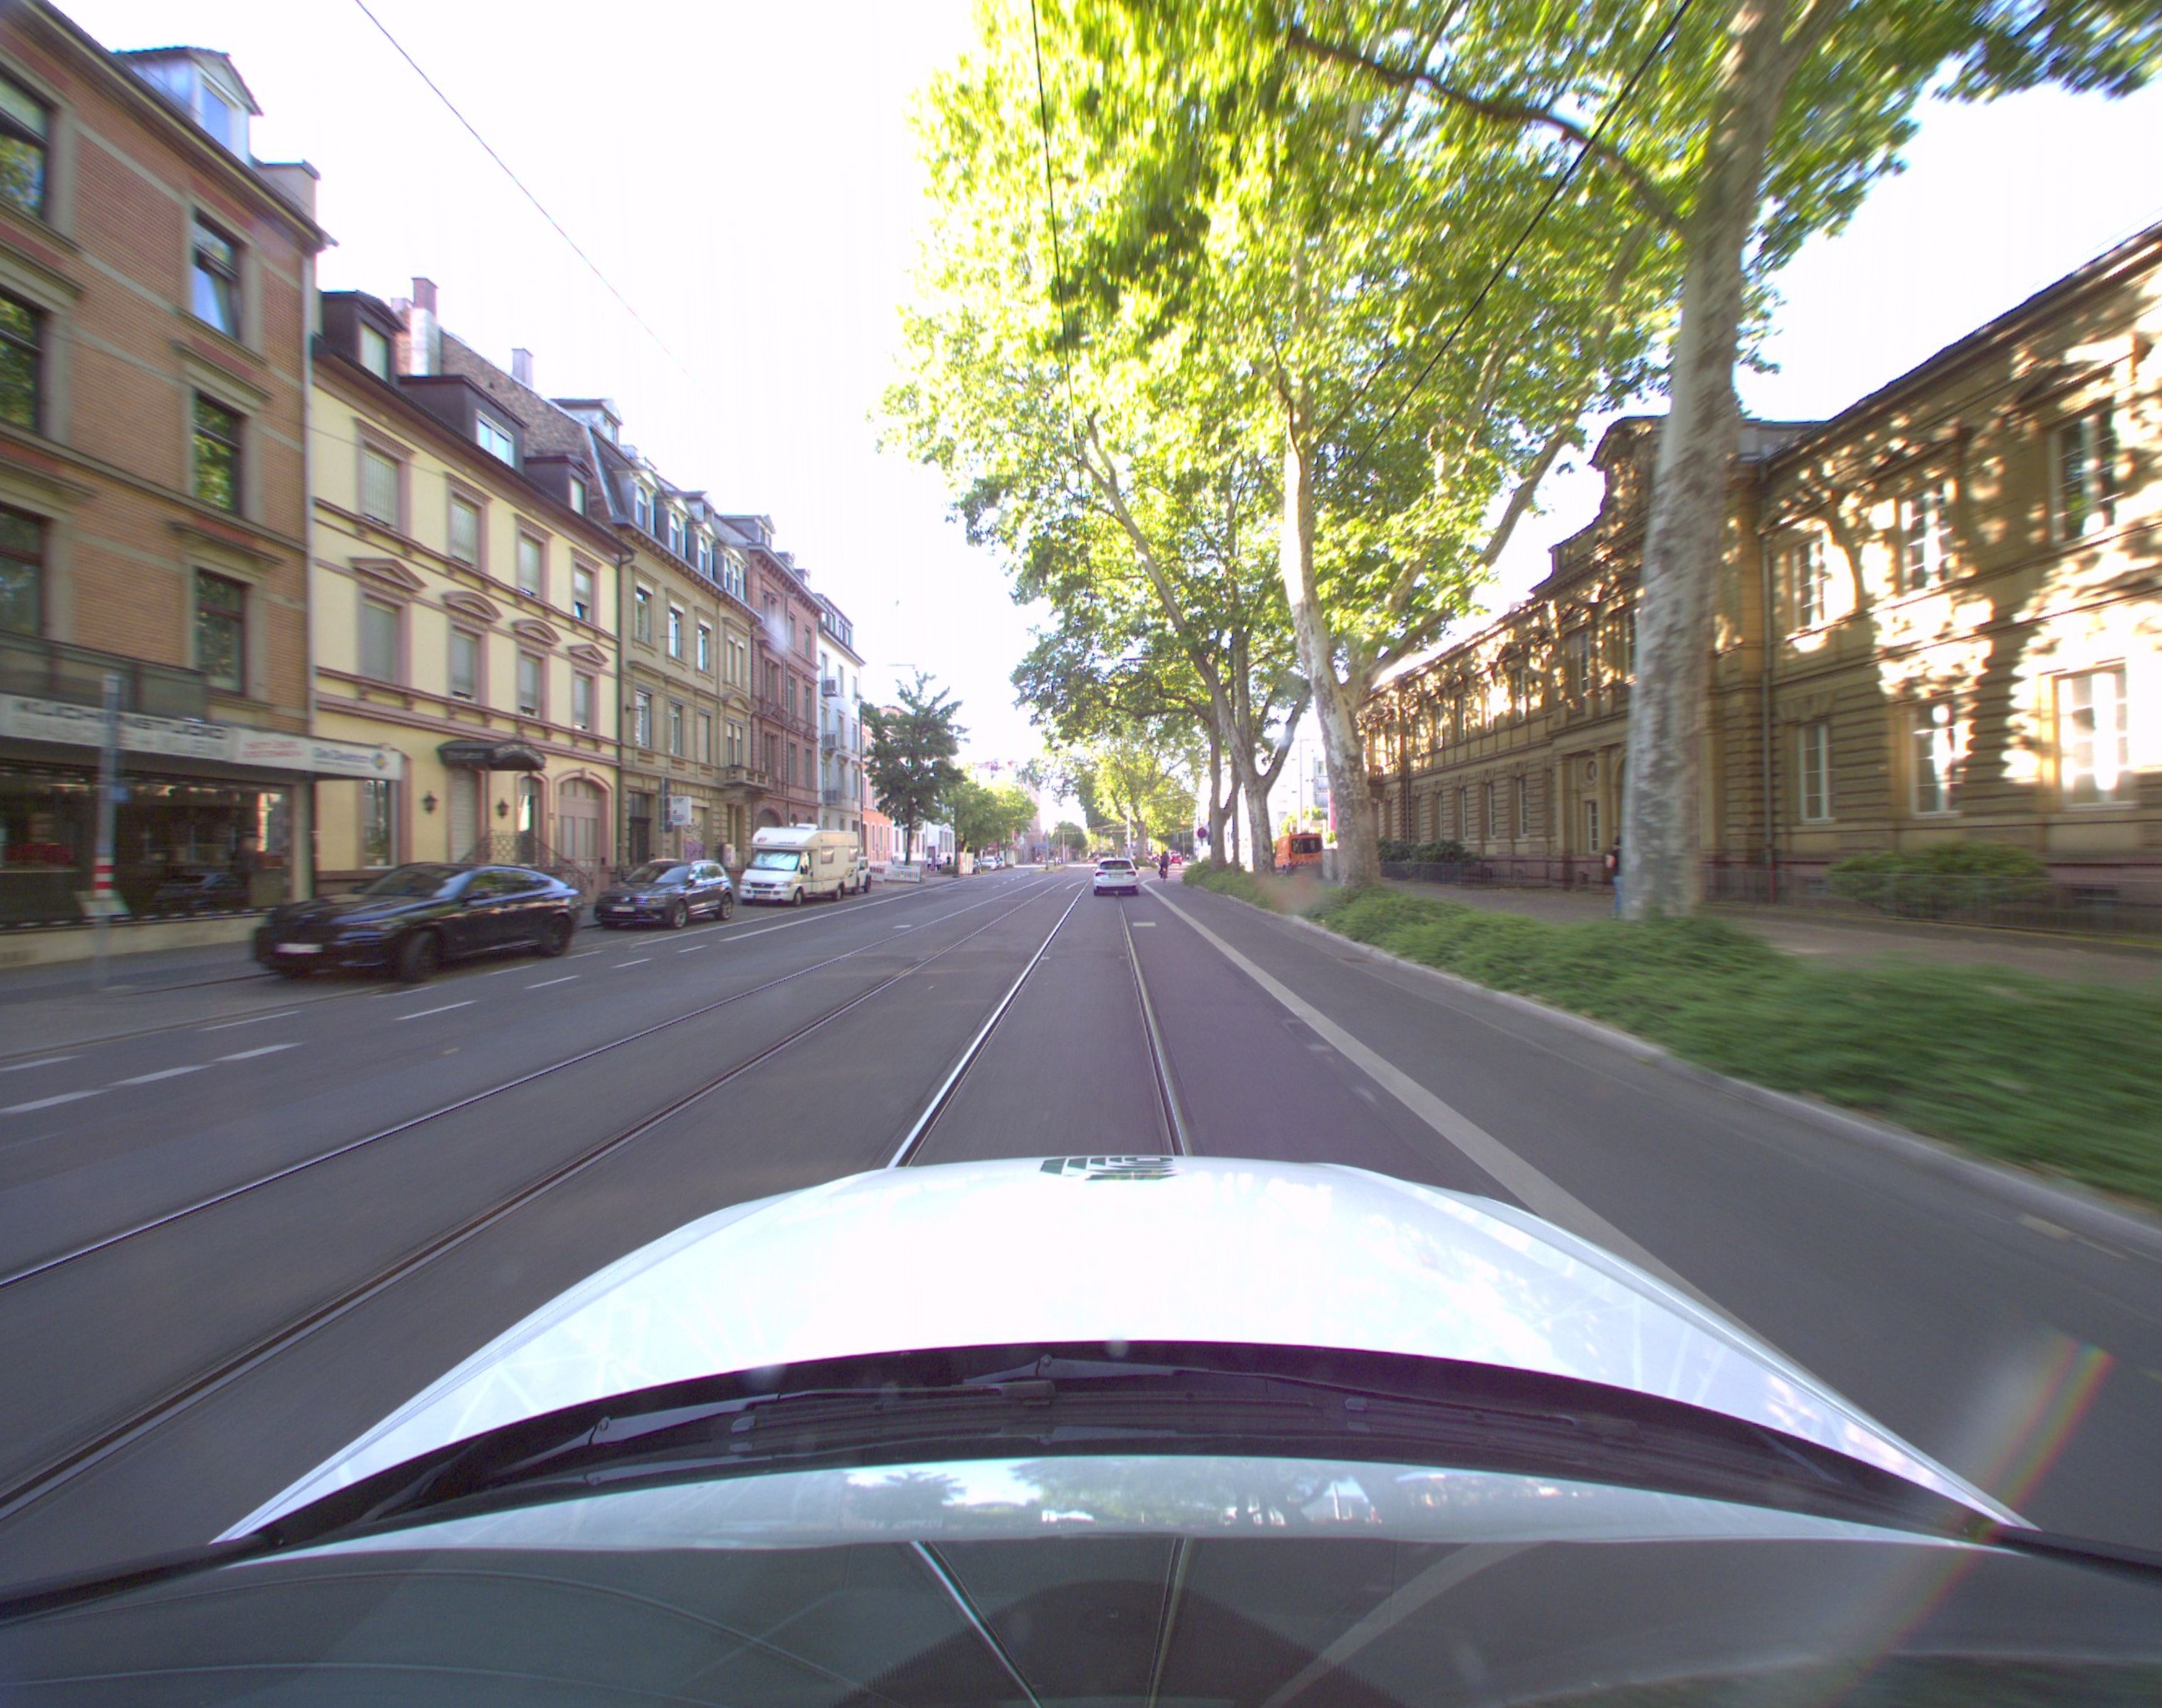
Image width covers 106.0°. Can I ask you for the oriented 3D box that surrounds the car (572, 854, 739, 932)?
[{"bbox_3d":[-10.726,0.897,20.971,1.958,1.781,4.469,0,0,-1],"label":"car"}]

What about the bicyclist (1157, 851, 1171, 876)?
[{"bbox_3d":[4.554,0.507,44.767,0.676,1.339,0.525,0,-1,0],"label":"bicyclist"}]

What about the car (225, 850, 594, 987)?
[{"bbox_3d":[-10.468,0.872,13.387,1.958,1.781,4.935,2,0,-1],"label":"car"}]

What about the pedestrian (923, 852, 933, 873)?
[{"bbox_3d":[-15.018,0.833,79.912,0.740,2.002,0.652,0,-1,39],"label":"pedestrian"}]

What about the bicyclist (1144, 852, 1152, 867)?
[{"bbox_3d":[6.933,0.579,84.324,0.731,1.589,0.589,-1,0,13],"label":"bicyclist"}]

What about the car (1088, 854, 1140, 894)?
[{"bbox_3d":[1.230,0.743,32.165,1.837,1.480,3.836,0,0,-1],"label":"car"}]

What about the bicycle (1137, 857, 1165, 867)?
[{"bbox_3d":[7.233,0.866,84.269,2.749,0.999,0.595,0,0,15],"label":"bicycle"}]

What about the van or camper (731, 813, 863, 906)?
[{"bbox_3d":[-10.538,0.177,31.030,2.208,3.140,7.118,0,0,2],"label":"van or camper"}]

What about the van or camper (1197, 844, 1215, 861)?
[{"bbox_3d":[17.044,-0.191,111.262,1.986,2.343,4.001,0,0,1],"label":"van or camper"}]

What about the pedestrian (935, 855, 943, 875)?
[{"bbox_3d":[-12.895,0.997,73.894,0.599,1.773,0.700,0,-1,-5],"label":"pedestrian"}]

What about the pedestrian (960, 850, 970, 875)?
[{"bbox_3d":[-9.393,0.657,65.989,0.643,2.002,0.750,0,0,5],"label":"pedestrian"}]

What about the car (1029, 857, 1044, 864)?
[{"bbox_3d":[-11.790,1.593,215.242,3.773,1.818,1.807,0,0,6],"label":"car"}]

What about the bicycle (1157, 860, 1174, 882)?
[{"bbox_3d":[4.578,0.908,44.340,0.677,1.155,2.964,0,0,1],"label":"bicycle"}]

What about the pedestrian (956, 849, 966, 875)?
[{"bbox_3d":[-9.434,0.649,63.963,0.598,2.002,0.750,0,0,5],"label":"pedestrian"}]

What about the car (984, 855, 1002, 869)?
[{"bbox_3d":[-10.758,0.929,100.134,1.788,1.726,3.783,0,0,-1],"label":"car"}]

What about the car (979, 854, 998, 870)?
[{"bbox_3d":[-10.700,0.908,94.551,1.788,1.726,3.783,0,0,-1],"label":"car"}]

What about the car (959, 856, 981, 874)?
[{"bbox_3d":[-10.531,1.011,77.659,1.636,1.726,3.783,0,0,-1],"label":"car"}]

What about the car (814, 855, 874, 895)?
[{"bbox_3d":[-10.663,0.888,36.942,1.636,1.726,3.783,0,0,-1],"label":"car"}]

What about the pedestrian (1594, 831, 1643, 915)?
[{"bbox_3d":[10.721,0.373,16.271,0.642,1.633,0.876,0,-1,20],"label":"pedestrian"}]

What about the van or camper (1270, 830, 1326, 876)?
[{"bbox_3d":[12.140,-0.042,45.818,2.019,2.464,5.112,0,0,3],"label":"van or camper"}]
